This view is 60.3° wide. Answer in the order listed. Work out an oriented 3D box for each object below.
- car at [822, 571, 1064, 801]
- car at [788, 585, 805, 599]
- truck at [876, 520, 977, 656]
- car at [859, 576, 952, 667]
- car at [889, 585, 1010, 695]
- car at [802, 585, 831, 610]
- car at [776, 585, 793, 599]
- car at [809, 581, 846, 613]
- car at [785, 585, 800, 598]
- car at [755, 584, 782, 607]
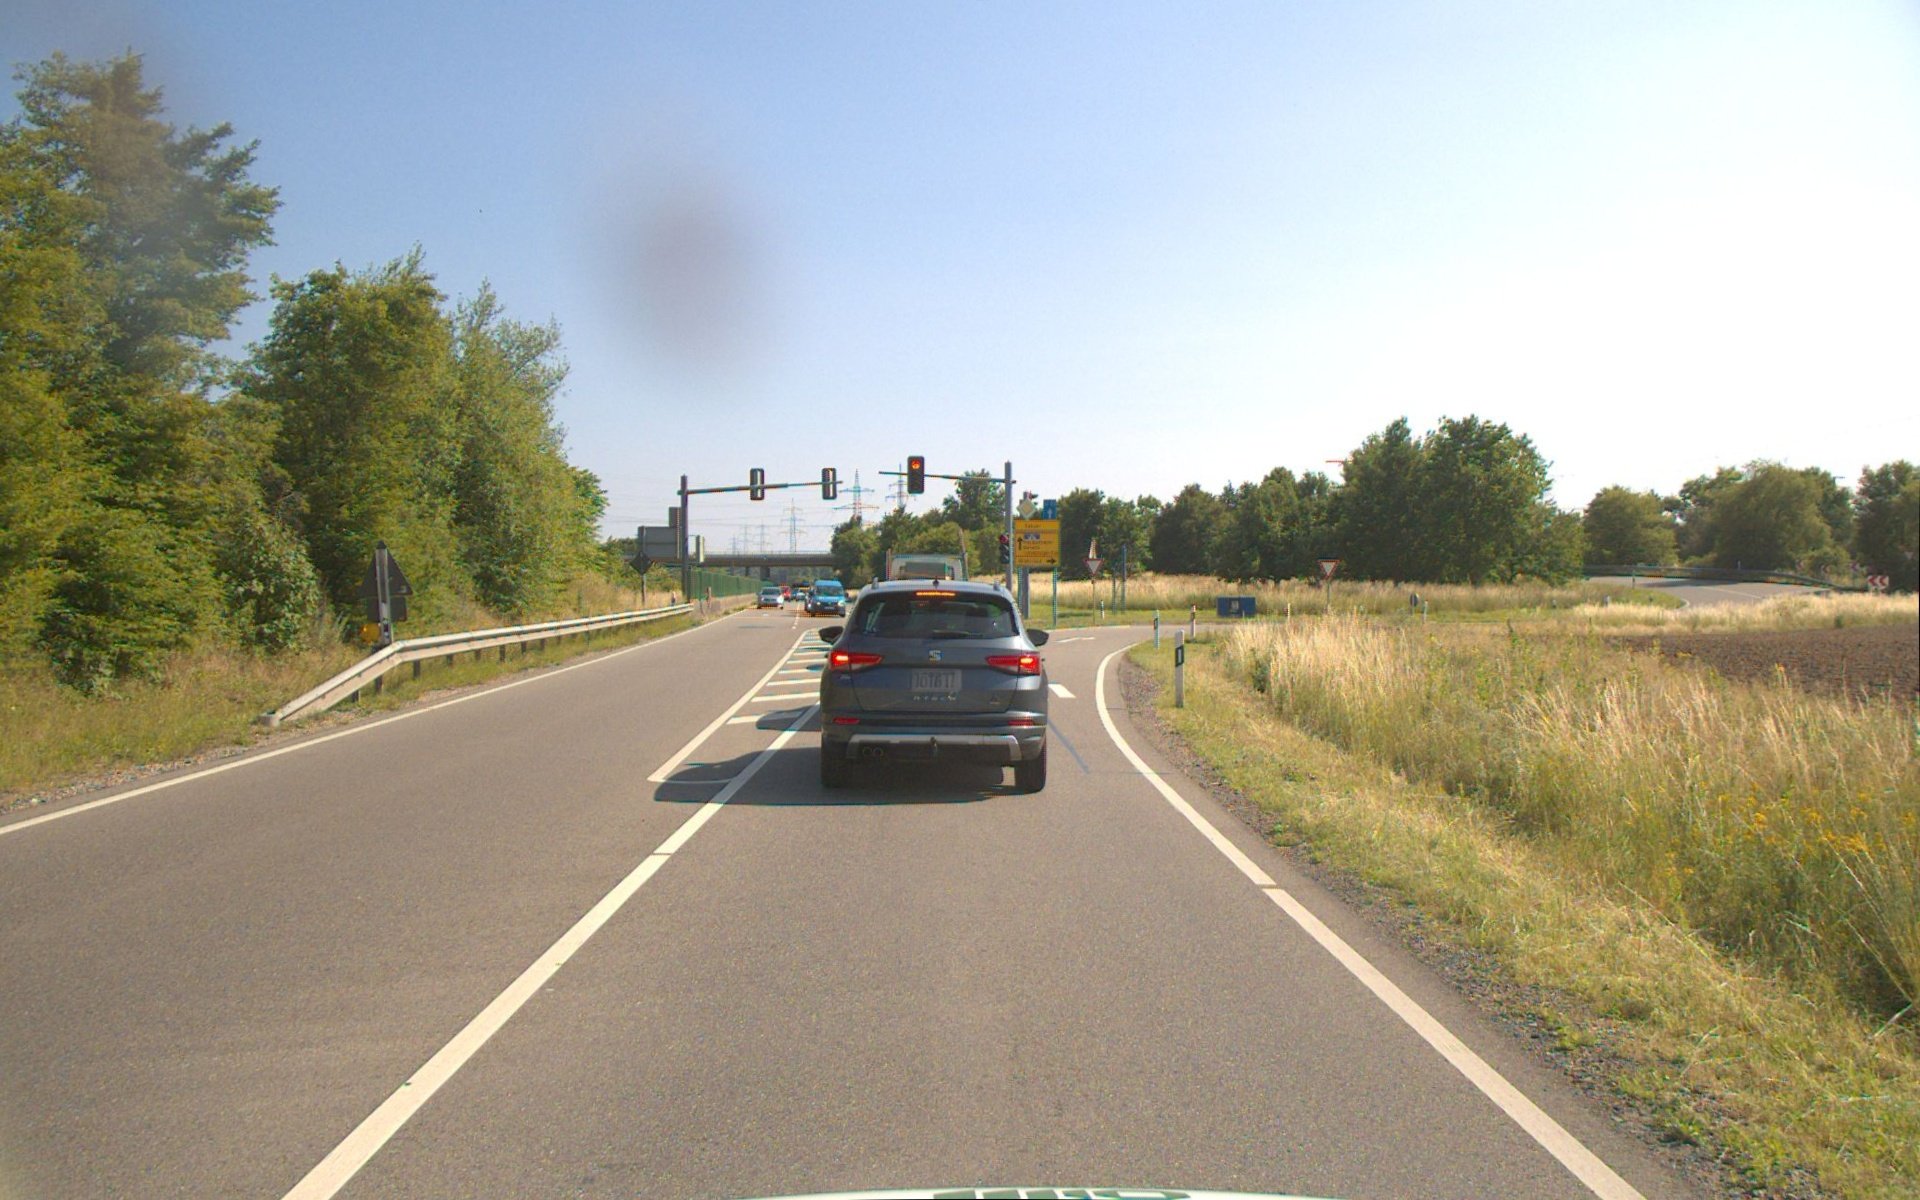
[{"bbox_3d":[-0.217,0.590,13.997,1.750,1.657,3.998,0,1,-3],"label":"car"},{"bbox_3d":[-17.321,-0.860,175.447,1.728,1.357,3.994,0,1,-7],"label":"car"},{"bbox_3d":[-0.857,-0.269,40.879,2.290,3.119,5.807,0,0,-2],"label":"truck"},{"bbox_3d":[-1.117,0.384,33.114,1.750,1.705,3.998,0,1,-3],"label":"car"},{"bbox_3d":[-0.242,0.569,26.246,1.750,1.570,3.998,0,1,-3],"label":"car"},{"bbox_3d":[-8.464,-0.152,97.185,1.651,1.404,3.529,0,1,-6],"label":"car"},{"bbox_3d":[-17.953,-0.836,169.086,1.728,1.456,3.994,0,1,-7],"label":"car"},{"bbox_3d":[-6.803,-0.177,84.637,1.781,1.567,3.995,0,1,-6],"label":"car"},{"bbox_3d":[-19.444,-0.953,191.658,1.728,1.456,3.994,0,1,-7],"label":"car"},{"bbox_3d":[-12.842,-0.301,110.917,1.789,1.456,3.994,0,1,-7],"label":"car"}]
